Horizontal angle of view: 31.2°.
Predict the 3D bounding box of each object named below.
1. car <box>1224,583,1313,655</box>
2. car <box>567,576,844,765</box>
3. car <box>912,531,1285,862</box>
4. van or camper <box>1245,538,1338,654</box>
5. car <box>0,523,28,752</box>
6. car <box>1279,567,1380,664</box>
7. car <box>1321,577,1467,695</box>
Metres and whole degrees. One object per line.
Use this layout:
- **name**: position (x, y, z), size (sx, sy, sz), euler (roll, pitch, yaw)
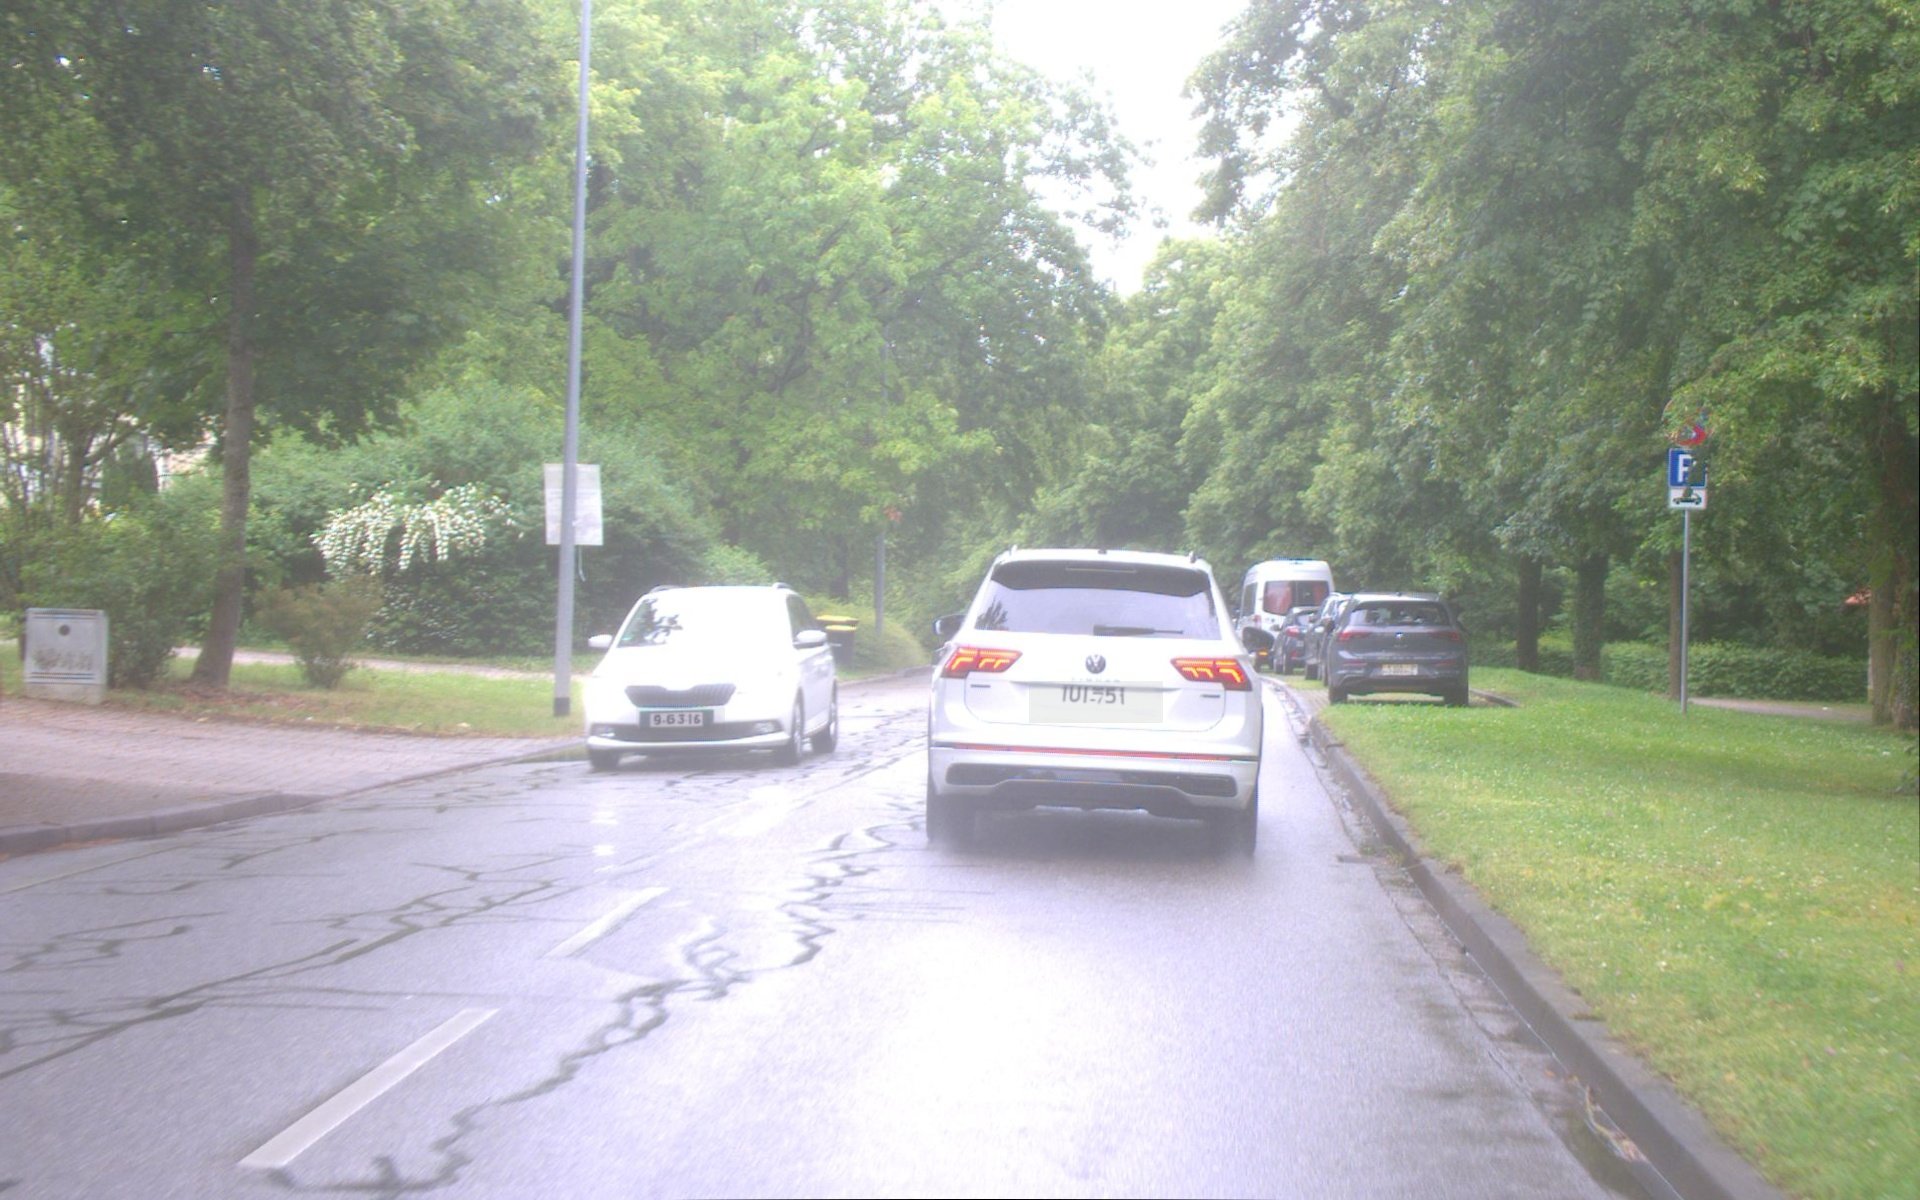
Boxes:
- **car**: position (6.714, 0.398, 74.781), size (1.865, 1.506, 3.724), euler (1, 0, 6)
- **car**: position (-2.010, 0.528, 28.214), size (1.701, 1.405, 4.008), euler (-1, 0, 4)
- **car**: position (0.800, 0.472, 19.961), size (1.905, 1.679, 4.200), euler (1, 1, 2)
- **van or camper**: position (8.045, -0.109, 83.378), size (2.016, 2.574, 8.434), euler (3, 0, 6)
- **car**: position (-7.420, 0.239, 21.199), size (1.994, 1.511, 3.999), euler (1, 1, 4)
- **car**: position (6.721, 0.269, 62.787), size (1.781, 1.714, 4.260), euler (0, 0, 6)
- **car**: position (5.590, 0.442, 44.623), size (1.701, 1.457, 4.216), euler (0, 0, 5)
